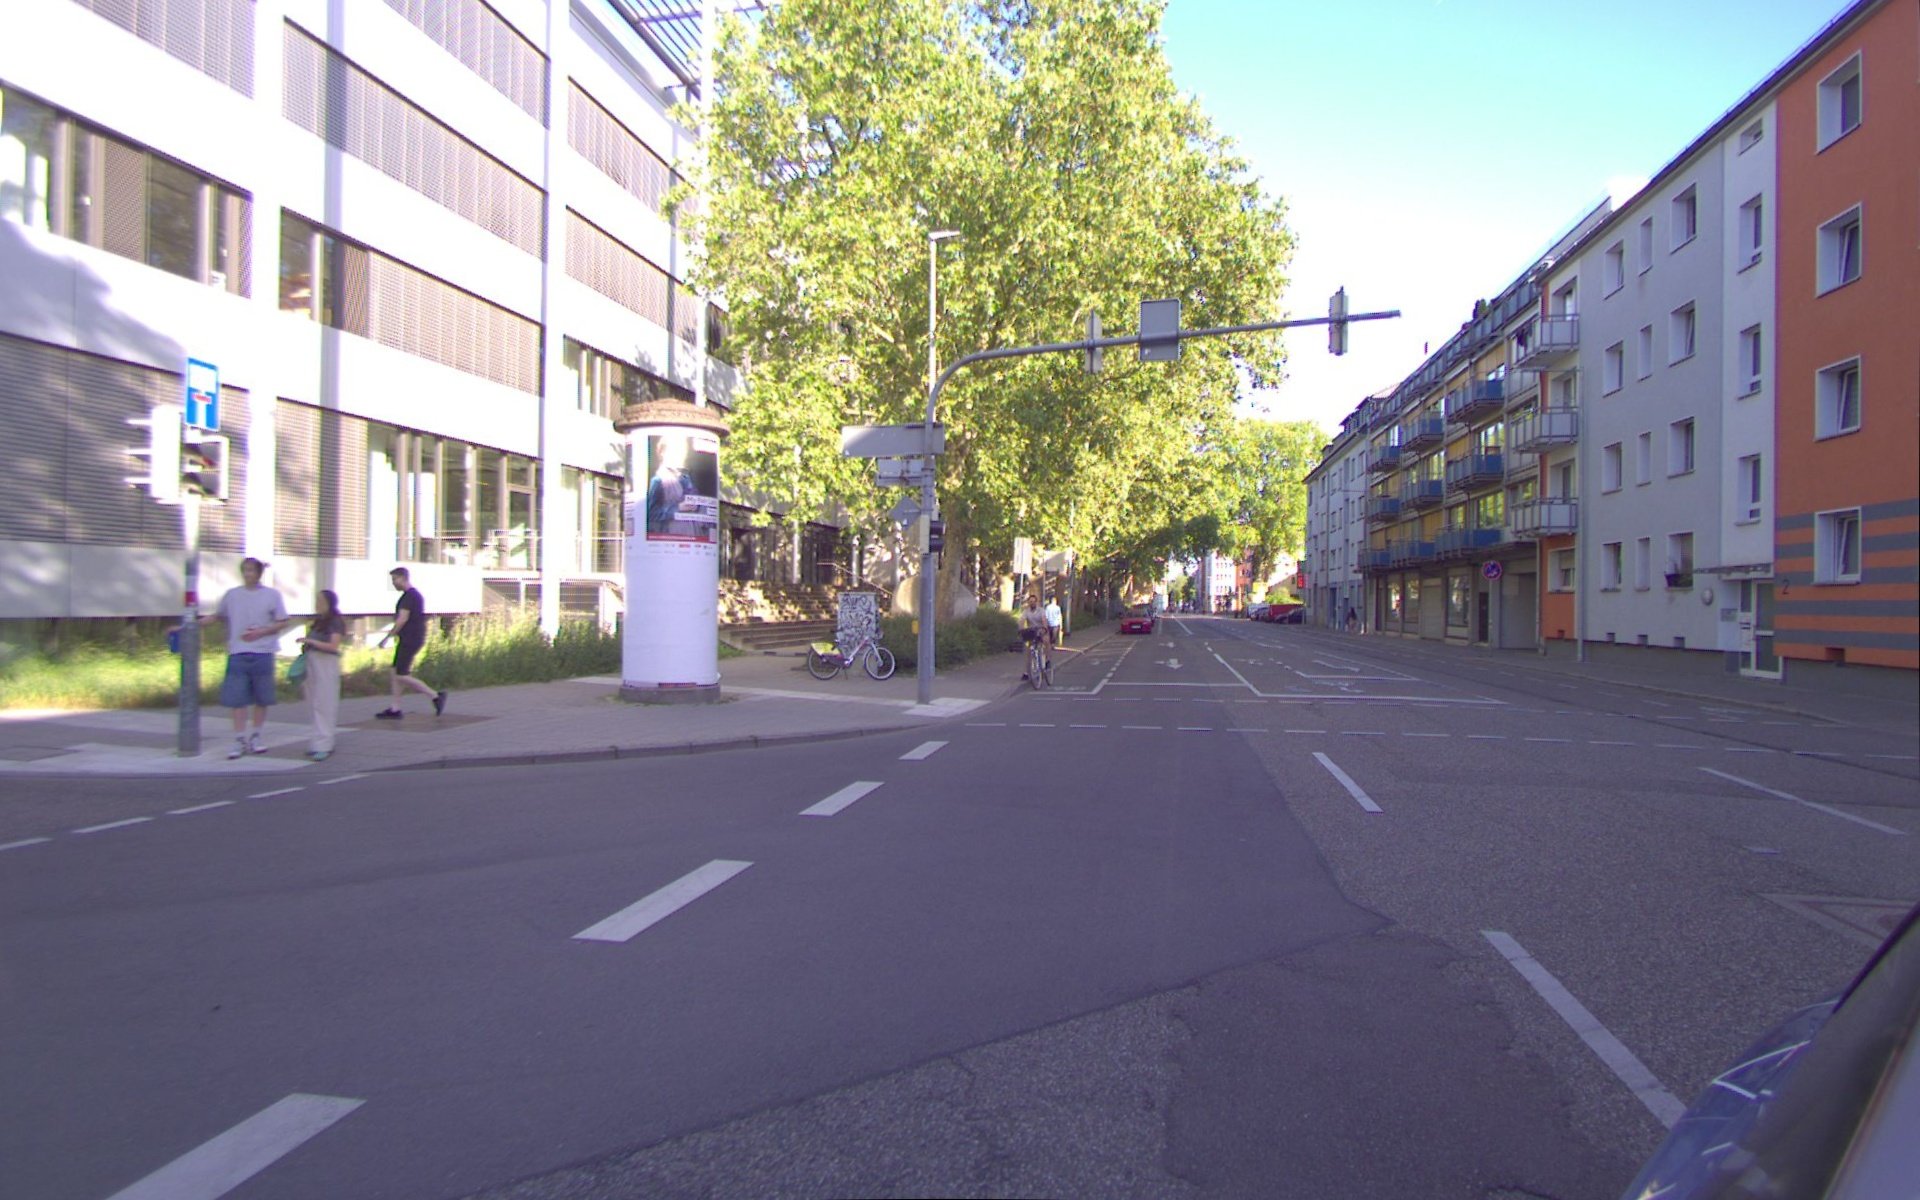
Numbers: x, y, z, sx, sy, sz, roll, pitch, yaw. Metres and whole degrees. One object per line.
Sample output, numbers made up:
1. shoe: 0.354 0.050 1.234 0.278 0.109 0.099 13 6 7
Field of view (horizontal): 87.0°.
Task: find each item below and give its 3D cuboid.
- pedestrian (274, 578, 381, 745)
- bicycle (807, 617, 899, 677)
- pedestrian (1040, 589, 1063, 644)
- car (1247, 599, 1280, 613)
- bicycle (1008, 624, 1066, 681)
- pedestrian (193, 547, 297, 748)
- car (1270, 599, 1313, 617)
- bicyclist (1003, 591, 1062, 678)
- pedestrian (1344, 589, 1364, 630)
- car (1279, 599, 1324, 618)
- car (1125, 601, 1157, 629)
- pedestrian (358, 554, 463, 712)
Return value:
1. pedestrian: -6.031 0.572 9.675 0.661 1.543 0.561 0 0 0
2. bicycle: -2.000 0.878 18.895 1.601 1.011 0.624 2 2 -13
3. pedestrian: 3.072 0.542 34.044 0.659 1.819 0.665 -3 0 6
4. car: 38.302 0.725 127.768 3.941 1.721 1.826 1 0 14
5. bicycle: 1.553 1.023 20.169 0.695 1.080 1.915 0 -2 19
6. pedestrian: -6.818 0.443 9.671 0.592 1.862 0.570 0 0 -4
7. car: 33.659 0.783 102.841 3.941 1.721 1.826 1 0 14
8. bicyclist: 1.439 0.651 19.982 0.938 1.661 1.001 0 0 19
9. pedestrian: 23.765 0.552 61.026 0.900 2.427 1.084 1 0 11
10. car: 32.874 0.782 97.624 3.941 1.721 1.826 1 0 14
11. car: 10.799 0.860 60.409 1.759 1.548 4.643 1 0 10
12. pedestrian: -6.455 0.374 11.928 0.975 1.794 0.607 1 -1 -20
